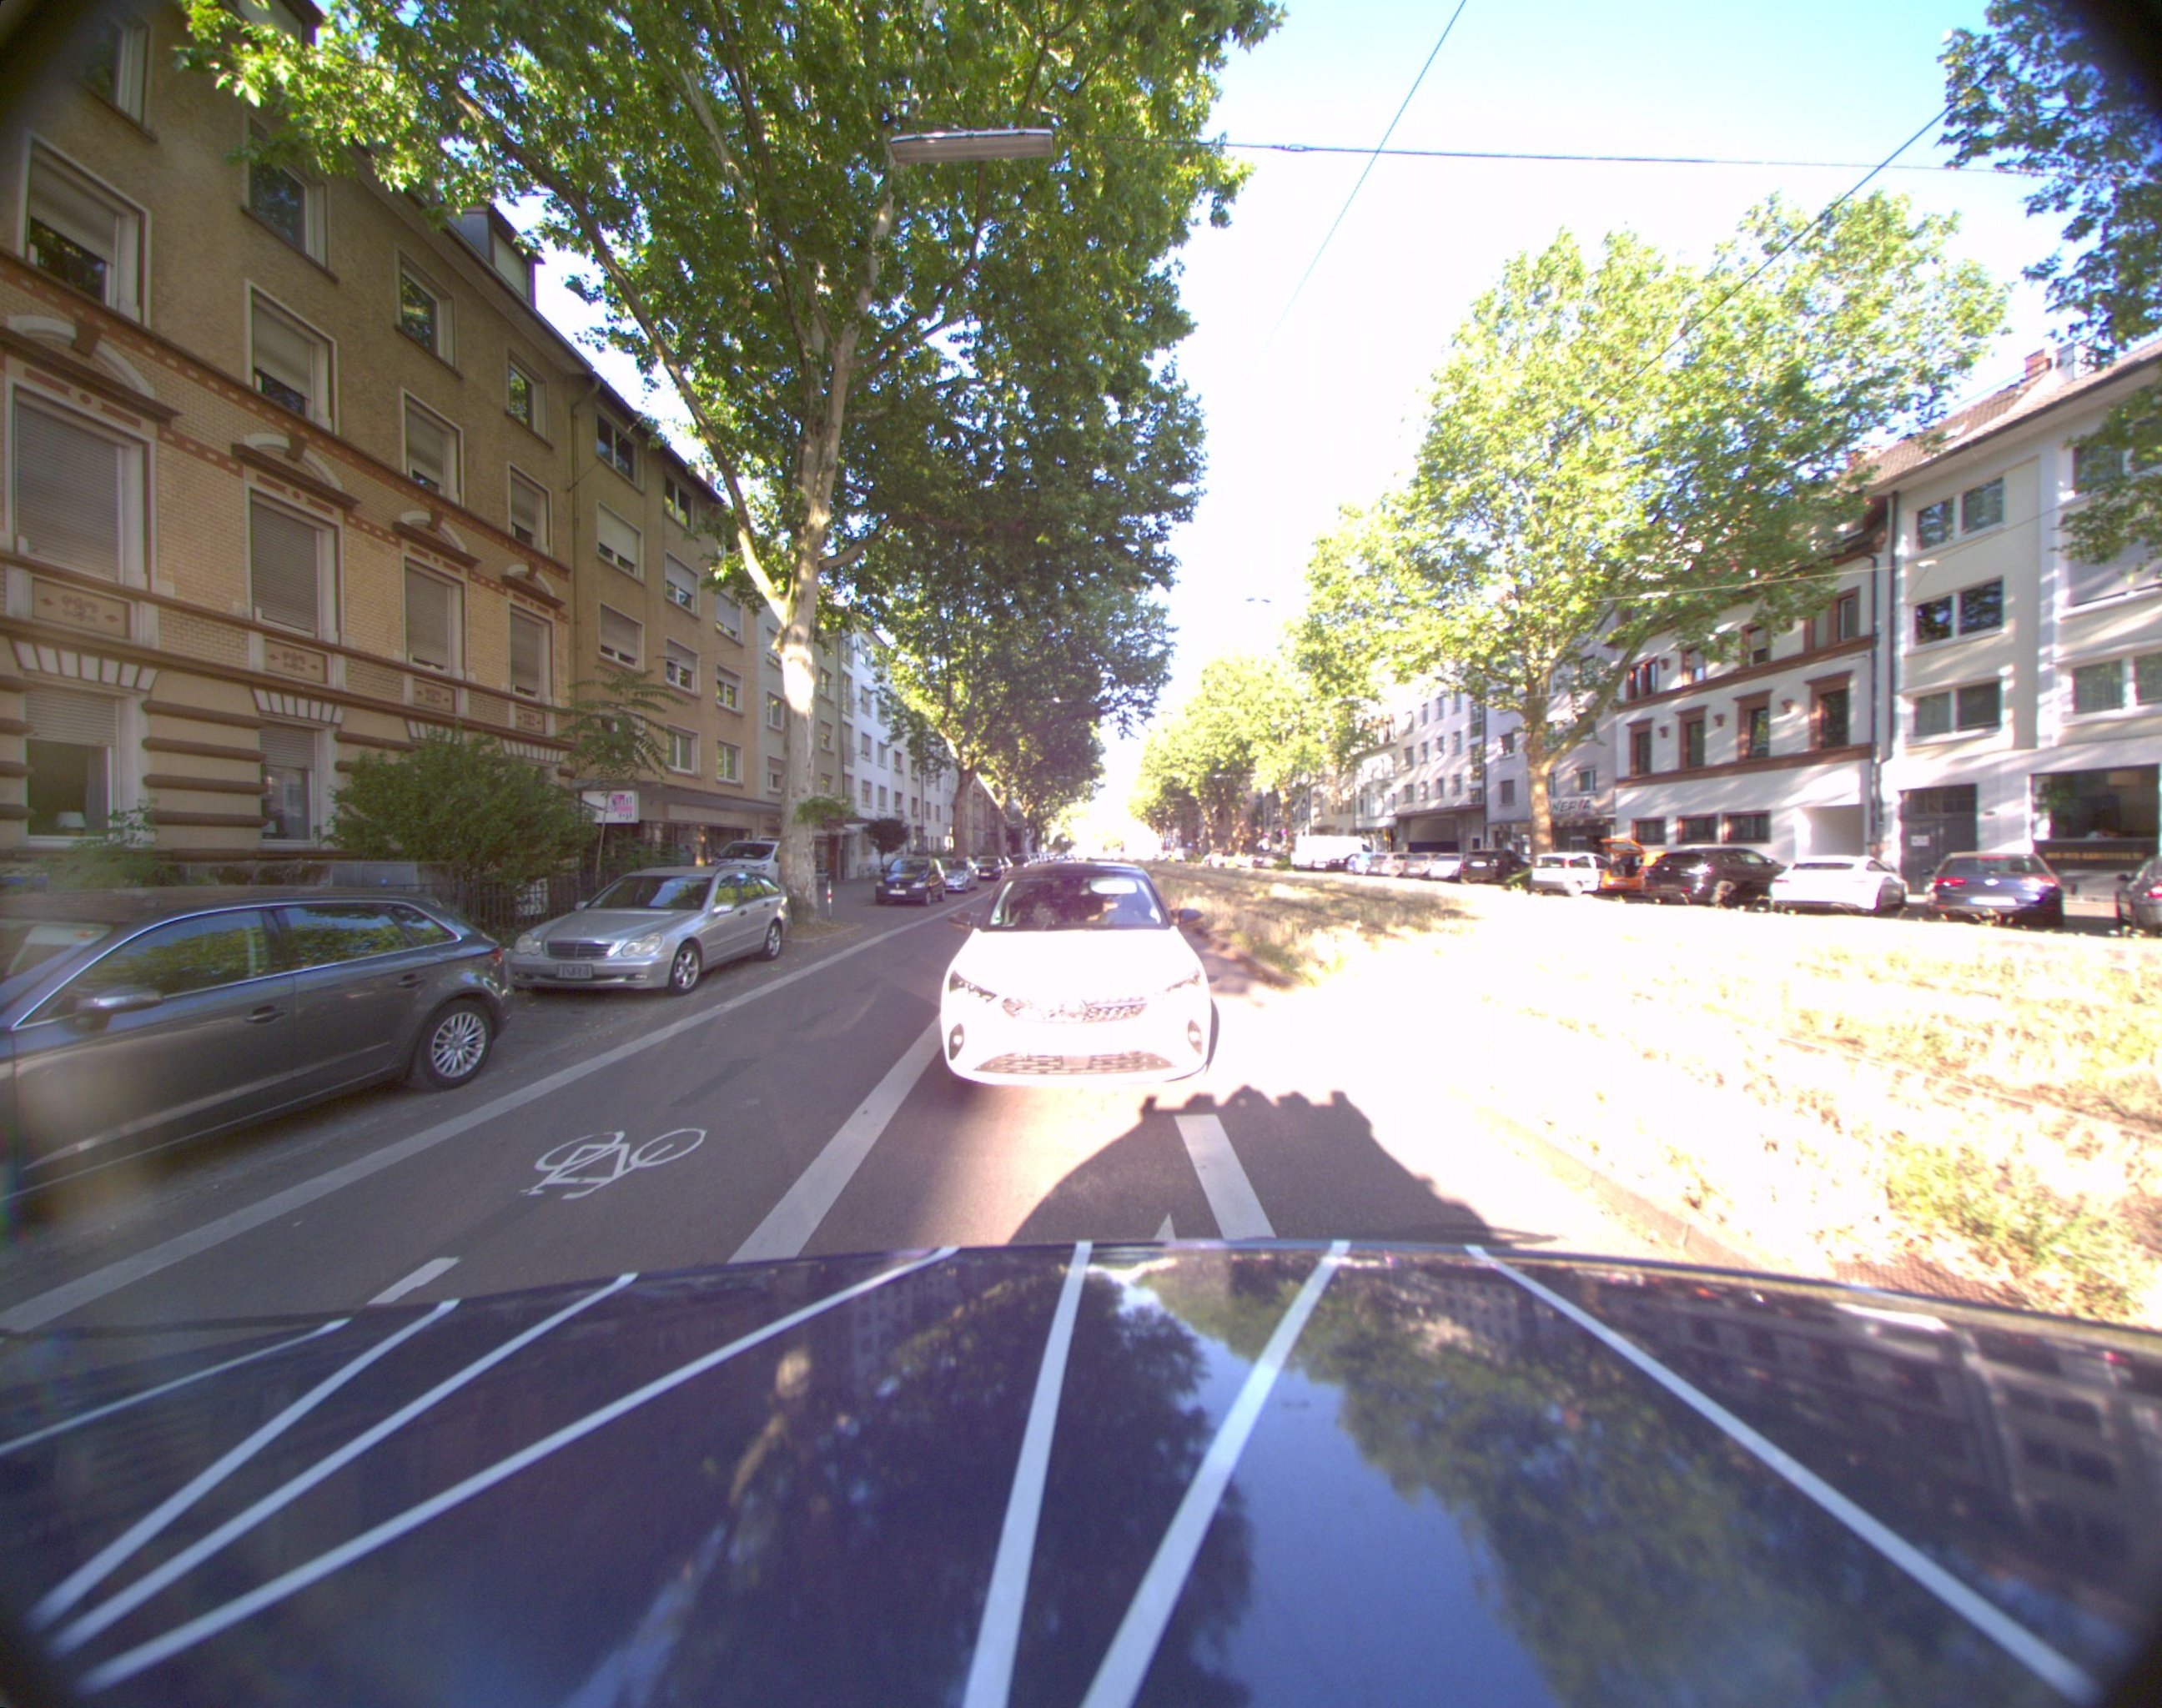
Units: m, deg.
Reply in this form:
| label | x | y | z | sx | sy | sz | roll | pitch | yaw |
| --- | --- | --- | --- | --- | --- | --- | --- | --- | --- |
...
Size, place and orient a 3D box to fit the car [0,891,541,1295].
| label | x | y | z | sx | sy | sz | roll | pitch | yaw |
| --- | --- | --- | --- | --- | --- | --- | --- | --- | --- |
| car | -5.202 | 1.038 | 3.821 | 1.802 | 1.393 | 4.370 | 2 | 1 | 1 |

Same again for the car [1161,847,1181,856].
| label | x | y | z | sx | sy | sz | roll | pitch | yaw |
| --- | --- | --- | --- | --- | --- | --- | --- | --- | --- |
| car | 18.188 | -0.557 | 153.943 | 3.994 | 1.802 | 1.874 | 0 | 1 | 10 |

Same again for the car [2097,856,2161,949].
| label | x | y | z | sx | sy | sz | roll | pitch | yaw |
| --- | --- | --- | --- | --- | --- | --- | --- | --- | --- |
| car | 19.001 | 0.761 | 12.874 | 3.979 | 1.424 | 1.738 | -1 | 0 | -42 |

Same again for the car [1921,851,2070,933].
| label | x | y | z | sx | sy | sz | roll | pitch | yaw |
| --- | --- | --- | --- | --- | --- | --- | --- | --- | --- |
| car | 19.269 | 0.697 | 16.170 | 3.979 | 1.495 | 1.827 | -1 | 1 | -42 |

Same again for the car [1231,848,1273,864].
| label | x | y | z | sx | sy | sz | roll | pitch | yaw |
| --- | --- | --- | --- | --- | --- | --- | --- | --- | --- |
| car | 18.392 | 0.211 | 81.677 | 4.005 | 1.696 | 1.995 | -1 | 1 | -27 |

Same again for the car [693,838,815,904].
| label | x | y | z | sx | sy | sz | roll | pitch | yaw |
| --- | --- | --- | --- | --- | --- | --- | --- | --- | --- |
| car | -10.381 | 0.478 | 24.576 | 1.933 | 1.864 | 4.677 | 2 | 1 | -1 |

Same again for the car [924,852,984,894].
| label | x | y | z | sx | sy | sz | roll | pitch | yaw |
| --- | --- | --- | --- | --- | --- | --- | --- | --- | --- |
| car | -5.349 | 0.758 | 32.450 | 1.803 | 1.599 | 4.369 | 2 | 1 | -1 |

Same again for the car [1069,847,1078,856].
| label | x | y | z | sx | sy | sz | roll | pitch | yaw |
| --- | --- | --- | --- | --- | --- | --- | --- | --- | --- |
| car | -1.712 | -0.666 | 180.031 | 1.998 | 2.002 | 3.999 | -2 | 1 | 0 |

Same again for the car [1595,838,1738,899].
| label | x | y | z | sx | sy | sz | roll | pitch | yaw |
| --- | --- | --- | --- | --- | --- | --- | --- | --- | --- |
| car | 19.541 | 0.438 | 25.397 | 4.260 | 1.932 | 1.514 | -1 | 1 | -15 |

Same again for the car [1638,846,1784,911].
| label | x | y | z | sx | sy | sz | roll | pitch | yaw |
| --- | --- | --- | --- | --- | --- | --- | --- | --- | --- |
| car | 18.215 | 0.629 | 21.935 | 4.265 | 1.674 | 2.147 | -1 | 1 | -34 |

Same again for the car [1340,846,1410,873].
| label | x | y | z | sx | sy | sz | roll | pitch | yaw |
| --- | --- | --- | --- | --- | --- | --- | --- | --- | --- |
| car | 18.775 | 0.332 | 48.487 | 4.005 | 1.608 | 1.995 | -1 | 1 | -27 |

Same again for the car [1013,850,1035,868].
| label | x | y | z | sx | sy | sz | roll | pitch | yaw |
| --- | --- | --- | --- | --- | --- | --- | --- | --- | --- |
| car | -5.452 | 0.452 | 73.596 | 1.803 | 1.599 | 4.104 | 2 | 1 | -1 |

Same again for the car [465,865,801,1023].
| label | x | y | z | sx | sy | sz | roll | pitch | yaw |
| --- | --- | --- | --- | --- | --- | --- | --- | --- | --- |
| car | -5.387 | 0.956 | 9.986 | 1.803 | 1.446 | 4.511 | 2 | 1 | -2 |

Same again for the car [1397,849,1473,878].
| label | x | y | z | sx | sy | sz | roll | pitch | yaw |
| --- | --- | --- | --- | --- | --- | --- | --- | --- | --- |
| car | 19.194 | 0.488 | 41.166 | 4.265 | 1.449 | 1.902 | -1 | 1 | -36 |

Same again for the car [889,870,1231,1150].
| label | x | y | z | sx | sy | sz | roll | pitch | yaw |
| --- | --- | --- | --- | --- | --- | --- | --- | --- | --- |
| car | -0.125 | 0.909 | 6.197 | 1.865 | 1.394 | 3.931 | -2 | 1 | -1 |

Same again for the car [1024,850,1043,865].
| label | x | y | z | sx | sy | sz | roll | pitch | yaw |
| --- | --- | --- | --- | --- | --- | --- | --- | --- | --- |
| car | -5.410 | 0.363 | 86.847 | 1.803 | 1.599 | 4.104 | 2 | 1 | -1 |

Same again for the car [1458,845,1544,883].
| label | x | y | z | sx | sy | sz | roll | pitch | yaw |
| --- | --- | --- | --- | --- | --- | --- | --- | --- | --- |
| car | 18.984 | 0.422 | 34.280 | 4.266 | 1.605 | 1.902 | -1 | 1 | -38 |

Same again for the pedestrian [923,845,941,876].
| label | x | y | z | sx | sy | sz | roll | pitch | yaw |
| --- | --- | --- | --- | --- | --- | --- | --- | --- | --- |
| pedestrian | -7.447 | 0.316 | 38.063 | 0.728 | 1.571 | 0.701 | 0 | 2 | 0 |

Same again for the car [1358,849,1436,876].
| label | x | y | z | sx | sy | sz | roll | pitch | yaw |
| --- | --- | --- | --- | --- | --- | --- | --- | --- | --- |
| car | 18.865 | 0.460 | 45.361 | 4.004 | 1.509 | 1.996 | -1 | 1 | -20 |

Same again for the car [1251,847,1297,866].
| label | x | y | z | sx | sy | sz | roll | pitch | yaw |
| --- | --- | --- | --- | --- | --- | --- | --- | --- | --- |
| car | 18.628 | 0.246 | 73.234 | 4.005 | 1.805 | 1.995 | -1 | 1 | -27 |

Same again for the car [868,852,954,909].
| label | x | y | z | sx | sy | sz | roll | pitch | yaw |
| --- | --- | --- | --- | --- | --- | --- | --- | --- | --- |
| car | -5.415 | 0.783 | 24.779 | 1.803 | 1.599 | 4.369 | 2 | 1 | -1 |

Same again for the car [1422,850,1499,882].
| label | x | y | z | sx | sy | sz | roll | pitch | yaw |
| --- | --- | --- | --- | --- | --- | --- | --- | --- | --- |
| car | 18.961 | 0.559 | 37.890 | 4.265 | 1.451 | 1.598 | -1 | 1 | -36 |

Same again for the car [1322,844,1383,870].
| label | x | y | z | sx | sy | sz | roll | pitch | yaw |
| --- | --- | --- | --- | --- | --- | --- | --- | --- | --- |
| car | 19.710 | 0.201 | 55.123 | 4.005 | 1.805 | 1.995 | -1 | 1 | -27 |

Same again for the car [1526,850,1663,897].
| label | x | y | z | sx | sy | sz | roll | pitch | yaw |
| --- | --- | --- | --- | --- | --- | --- | --- | --- | --- |
| car | 18.132 | 0.659 | 26.851 | 4.260 | 1.549 | 1.641 | -1 | 1 | -15 |

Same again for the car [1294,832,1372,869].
| label | x | y | z | sx | sy | sz | roll | pitch | yaw |
| --- | --- | --- | --- | --- | --- | --- | --- | --- | --- |
| car | 19.171 | -0.288 | 57.788 | 5.619 | 2.684 | 2.175 | -1 | 1 | -24 |

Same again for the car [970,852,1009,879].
| label | x | y | z | sx | sy | sz | roll | pitch | yaw |
| --- | --- | --- | --- | --- | --- | --- | --- | --- | --- |
| car | -5.478 | 0.655 | 45.777 | 1.803 | 1.494 | 4.369 | 2 | 1 | -1 |

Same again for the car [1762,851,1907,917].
| label | x | y | z | sx | sy | sz | roll | pitch | yaw |
| --- | --- | --- | --- | --- | --- | --- | --- | --- | --- |
| car | 18.473 | 0.640 | 18.581 | 4.266 | 1.369 | 2.147 | -1 | 1 | -40 |

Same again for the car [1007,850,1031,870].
| label | x | y | z | sx | sy | sz | roll | pitch | yaw |
| --- | --- | --- | --- | --- | --- | --- | --- | --- | --- |
| car | -5.384 | 0.503 | 66.454 | 1.803 | 1.599 | 4.104 | 2 | 1 | -1 |

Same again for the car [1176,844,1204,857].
| label | x | y | z | sx | sy | sz | roll | pitch | yaw |
| --- | --- | --- | --- | --- | --- | --- | --- | --- | --- |
| car | 18.690 | -0.594 | 130.222 | 4.952 | 2.200 | 2.096 | -1 | 1 | -42 |

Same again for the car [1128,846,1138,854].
| label | x | y | z | sx | sy | sz | roll | pitch | yaw |
| --- | --- | --- | --- | --- | --- | --- | --- | --- | --- |
| car | 17.333 | -1.233 | 252.825 | 2.963 | 2.407 | 6.327 | -2 | 1 | 1 |

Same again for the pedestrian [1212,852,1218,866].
| label | x | y | z | sx | sy | sz | roll | pitch | yaw |
| --- | --- | --- | --- | --- | --- | --- | --- | --- | --- |
| pedestrian | 14.653 | 0.567 | 83.163 | 0.620 | 1.588 | 0.422 | 0 | 1 | 1 |

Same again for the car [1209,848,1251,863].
| label | x | y | z | sx | sy | sz | roll | pitch | yaw |
| --- | --- | --- | --- | --- | --- | --- | --- | --- | --- |
| car | 16.442 | 0.149 | 84.101 | 4.234 | 1.696 | 1.999 | 0 | 1 | -4 |

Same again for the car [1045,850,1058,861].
| label | x | y | z | sx | sy | sz | roll | pitch | yaw |
| --- | --- | --- | --- | --- | --- | --- | --- | --- | --- |
| car | -4.231 | 0.188 | 110.045 | 1.803 | 1.598 | 3.701 | 2 | 1 | -1 |

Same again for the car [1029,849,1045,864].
| label | x | y | z | sx | sy | sz | roll | pitch | yaw |
| --- | --- | --- | --- | --- | --- | --- | --- | --- | --- |
| car | -5.395 | 0.261 | 93.622 | 1.803 | 1.742 | 4.104 | 2 | 1 | -1 |

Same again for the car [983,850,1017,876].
| label | x | y | z | sx | sy | sz | roll | pitch | yaw |
| --- | --- | --- | --- | --- | --- | --- | --- | --- | --- |
| car | -5.404 | 0.578 | 51.074 | 1.803 | 1.599 | 4.369 | 2 | 1 | -1 |

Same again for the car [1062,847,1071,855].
| label | x | y | z | sx | sy | sz | roll | pitch | yaw |
| --- | --- | --- | --- | --- | --- | --- | --- | --- | --- |
| car | -3.763 | -0.763 | 197.574 | 1.998 | 2.002 | 3.999 | -2 | 1 | 1 |

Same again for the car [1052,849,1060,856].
| label | x | y | z | sx | sy | sz | roll | pitch | yaw |
| --- | --- | --- | --- | --- | --- | --- | --- | --- | --- |
| car | -7.741 | -0.484 | 237.883 | 1.998 | 1.850 | 4.001 | -2 | 1 | 5 |

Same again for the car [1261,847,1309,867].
| label | x | y | z | sx | sy | sz | roll | pitch | yaw |
| --- | --- | --- | --- | --- | --- | --- | --- | --- | --- |
| car | 18.806 | 0.269 | 69.962 | 4.005 | 1.805 | 1.995 | -1 | 1 | -27 |
